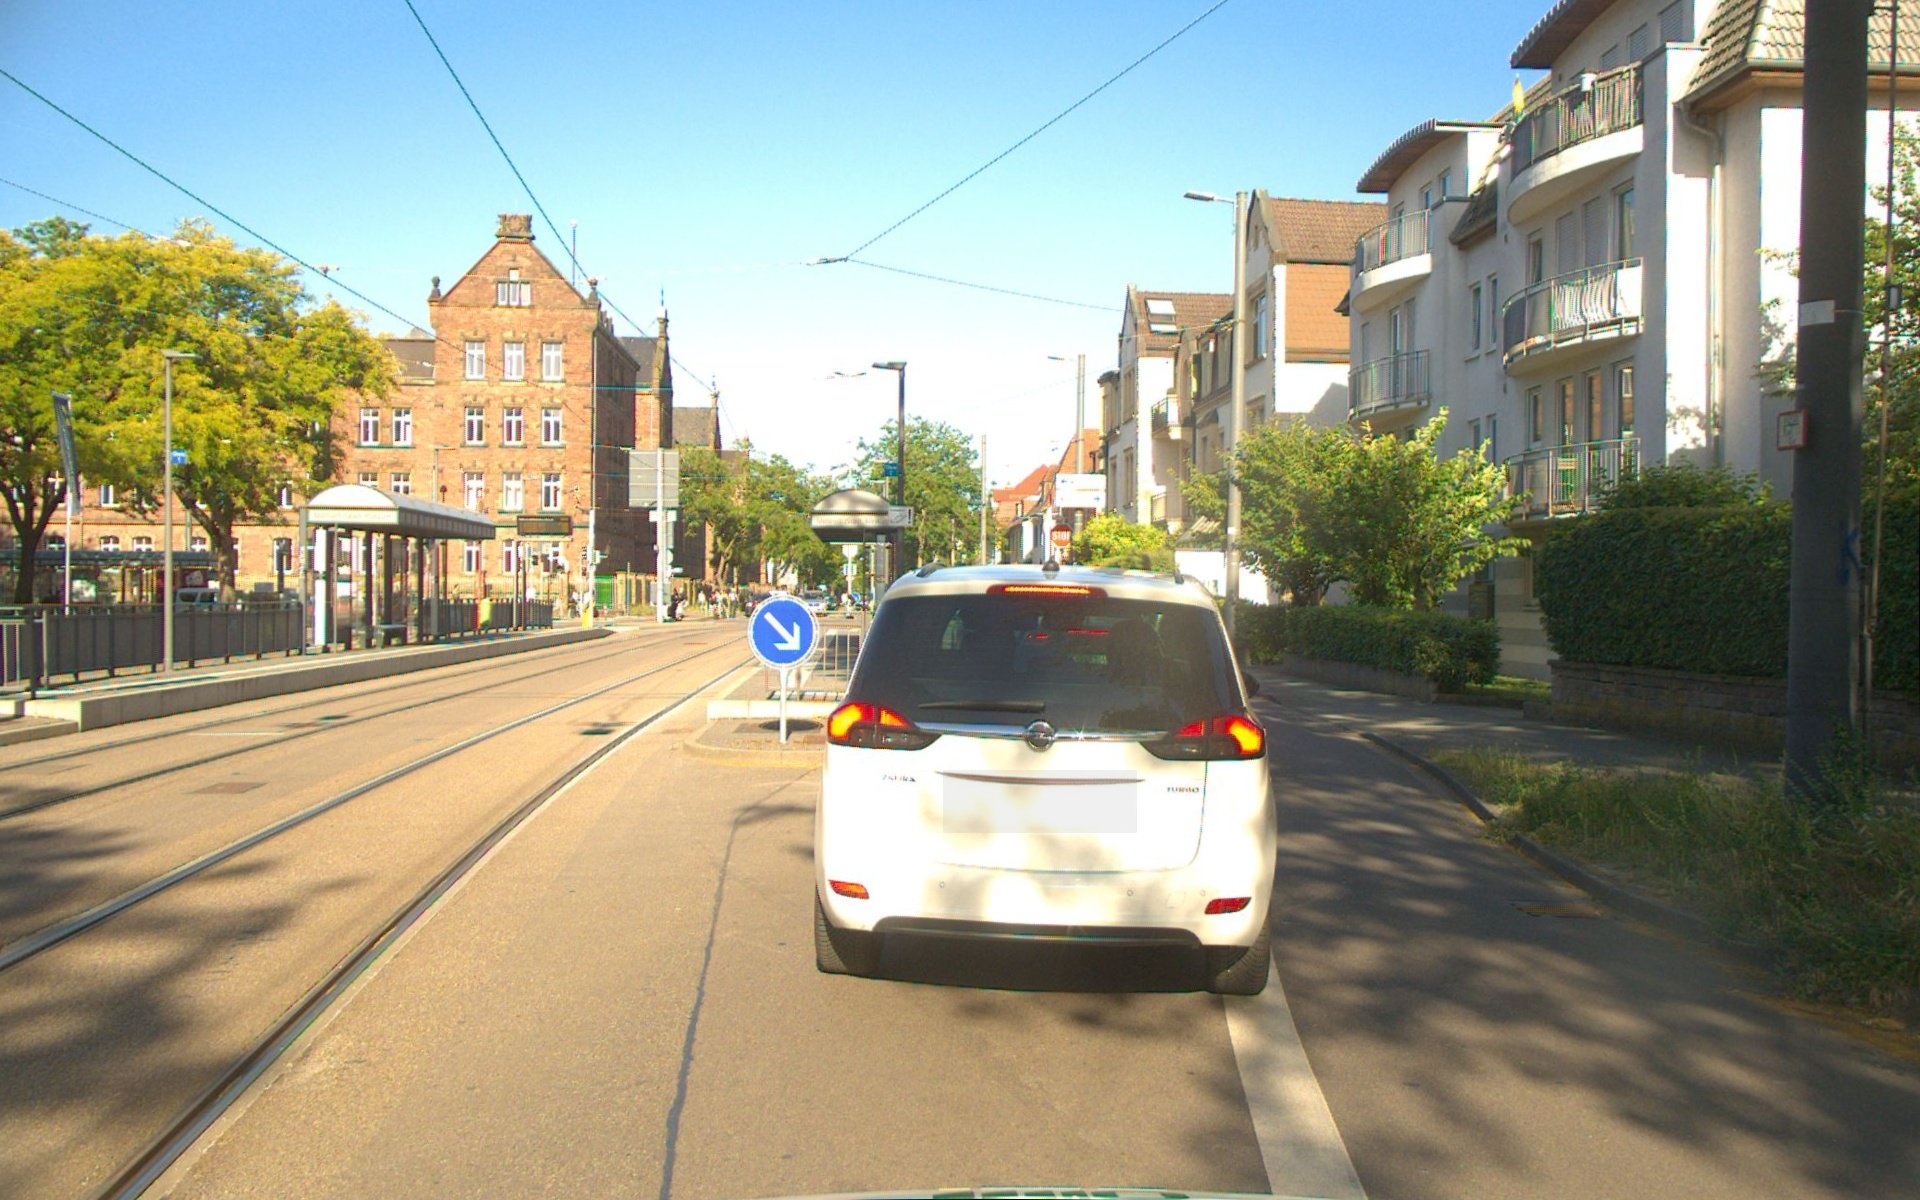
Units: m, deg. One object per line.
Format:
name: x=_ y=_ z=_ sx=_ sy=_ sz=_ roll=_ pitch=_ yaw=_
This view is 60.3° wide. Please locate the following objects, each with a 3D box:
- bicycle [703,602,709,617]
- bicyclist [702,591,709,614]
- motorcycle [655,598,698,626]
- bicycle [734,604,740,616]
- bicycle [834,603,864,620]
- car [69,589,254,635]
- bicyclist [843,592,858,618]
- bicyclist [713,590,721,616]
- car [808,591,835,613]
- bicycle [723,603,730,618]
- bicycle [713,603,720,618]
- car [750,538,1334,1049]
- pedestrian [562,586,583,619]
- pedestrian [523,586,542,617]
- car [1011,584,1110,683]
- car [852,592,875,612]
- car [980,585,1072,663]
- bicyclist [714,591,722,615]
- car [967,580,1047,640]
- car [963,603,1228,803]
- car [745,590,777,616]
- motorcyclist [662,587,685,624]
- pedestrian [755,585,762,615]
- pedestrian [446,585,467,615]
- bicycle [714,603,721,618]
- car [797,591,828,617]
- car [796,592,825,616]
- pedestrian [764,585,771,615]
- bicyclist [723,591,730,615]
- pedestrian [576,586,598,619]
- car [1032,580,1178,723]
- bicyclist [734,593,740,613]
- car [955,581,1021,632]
bicycle: x=-17.644 y=0.660 z=114.867 sx=0.337 sy=0.966 sz=0.996 roll=1 pitch=0 yaw=-4
bicyclist: x=-17.637 y=0.184 z=114.831 sx=0.435 sy=1.580 sz=0.495 roll=0 pitch=0 yaw=-4
motorcycle: x=-12.862 y=0.545 z=75.106 sx=0.601 sy=1.219 sz=2.066 roll=0 pitch=0 yaw=37
bicycle: x=-15.051 y=0.674 z=111.434 sx=0.337 sy=0.737 sz=0.996 roll=1 pitch=0 yaw=-4
bicycle: x=-6.251 y=0.638 z=93.272 sx=1.635 sy=0.969 sz=0.529 roll=0 pitch=0 yaw=5
car: x=-35.717 y=0.529 z=74.200 sx=6.810 sy=1.954 sz=2.991 roll=0 pitch=0 yaw=-2
bicyclist: x=-6.194 y=0.287 z=93.267 sx=0.742 sy=1.455 sz=0.516 roll=1 pitch=-1 yaw=5
bicyclist: x=-15.143 y=0.177 z=103.056 sx=0.435 sy=1.580 sz=0.742 roll=0 pitch=0 yaw=-4
car: x=-10.929 y=0.143 z=130.491 sx=1.953 sy=1.657 sz=3.998 roll=0 pitch=0 yaw=-3
bicycle: x=-15.382 y=0.674 z=108.926 sx=0.337 sy=0.966 sz=0.996 roll=1 pitch=0 yaw=-4
bicycle: x=-15.152 y=0.653 z=102.848 sx=0.337 sy=0.966 sz=1.159 roll=1 pitch=0 yaw=-4
car: x=0.461 y=0.649 z=7.604 sx=1.951 sy=1.673 sz=3.996 roll=1 pitch=0 yaw=6
pedestrian: x=-20.665 y=0.136 z=88.238 sx=0.825 sy=1.721 sz=1.029 roll=1 pitch=0 yaw=-1
pedestrian: x=-22.701 y=0.070 z=87.844 sx=0.786 sy=1.616 sz=0.934 roll=1 pitch=0 yaw=-3
car: x=1.719 y=0.552 z=29.279 sx=1.603 sy=1.629 sz=3.855 roll=0 pitch=0 yaw=1
car: x=-8.384 y=0.183 z=143.250 sx=1.954 sy=1.657 sz=3.997 roll=0 pitch=0 yaw=-4
car: x=1.385 y=0.494 z=36.198 sx=1.793 sy=1.607 sz=4.009 roll=0 pitch=0 yaw=-1
bicyclist: x=-15.563 y=0.185 z=106.332 sx=0.435 sy=1.580 sz=0.495 roll=0 pitch=0 yaw=-4
car: x=1.207 y=0.259 z=44.319 sx=1.953 sy=1.529 sz=3.999 roll=0 pitch=0 yaw=-1
car: x=1.035 y=0.749 z=13.992 sx=1.912 sy=1.422 sz=4.001 roll=0 pitch=0 yaw=1
car: x=-12.846 y=0.196 z=106.895 sx=1.955 sy=1.657 sz=3.996 roll=0 pitch=0 yaw=-5
motorcyclist: x=-12.972 y=0.239 z=74.962 sx=0.603 sy=1.650 sz=0.841 roll=0 pitch=0 yaw=38
pedestrian: x=-13.635 y=0.007 z=111.735 sx=0.435 sy=2.049 sz=0.495 roll=0 pitch=0 yaw=-4
pedestrian: x=-26.804 y=0.000 z=88.032 sx=0.913 sy=1.616 sz=0.804 roll=1 pitch=-1 yaw=-5
bicycle: x=-15.600 y=0.660 z=106.374 sx=0.337 sy=0.966 sz=0.996 roll=1 pitch=0 yaw=-4
car: x=-9.536 y=0.246 z=107.168 sx=1.955 sy=1.657 sz=3.996 roll=0 pitch=0 yaw=-5
car: x=-10.340 y=0.262 z=114.261 sx=1.955 sy=1.657 sz=3.996 roll=0 pitch=0 yaw=-5
pedestrian: x=-13.036 y=0.018 z=112.061 sx=0.435 sy=2.049 sz=0.495 roll=0 pitch=0 yaw=-4
bicyclist: x=-15.372 y=0.199 z=108.919 sx=0.435 sy=1.580 sz=0.495 roll=0 pitch=0 yaw=-4
pedestrian: x=-19.679 y=0.142 z=87.272 sx=0.877 sy=1.713 sz=1.029 roll=1 pitch=0 yaw=-1
car: x=1.746 y=0.586 z=20.850 sx=1.603 sy=1.629 sz=3.855 roll=0 pitch=0 yaw=1
bicyclist: x=-15.048 y=0.201 z=111.431 sx=0.352 sy=1.326 sz=0.397 roll=0 pitch=0 yaw=-4
car: x=0.836 y=0.193 z=51.775 sx=1.953 sy=1.529 sz=3.999 roll=0 pitch=0 yaw=-1
